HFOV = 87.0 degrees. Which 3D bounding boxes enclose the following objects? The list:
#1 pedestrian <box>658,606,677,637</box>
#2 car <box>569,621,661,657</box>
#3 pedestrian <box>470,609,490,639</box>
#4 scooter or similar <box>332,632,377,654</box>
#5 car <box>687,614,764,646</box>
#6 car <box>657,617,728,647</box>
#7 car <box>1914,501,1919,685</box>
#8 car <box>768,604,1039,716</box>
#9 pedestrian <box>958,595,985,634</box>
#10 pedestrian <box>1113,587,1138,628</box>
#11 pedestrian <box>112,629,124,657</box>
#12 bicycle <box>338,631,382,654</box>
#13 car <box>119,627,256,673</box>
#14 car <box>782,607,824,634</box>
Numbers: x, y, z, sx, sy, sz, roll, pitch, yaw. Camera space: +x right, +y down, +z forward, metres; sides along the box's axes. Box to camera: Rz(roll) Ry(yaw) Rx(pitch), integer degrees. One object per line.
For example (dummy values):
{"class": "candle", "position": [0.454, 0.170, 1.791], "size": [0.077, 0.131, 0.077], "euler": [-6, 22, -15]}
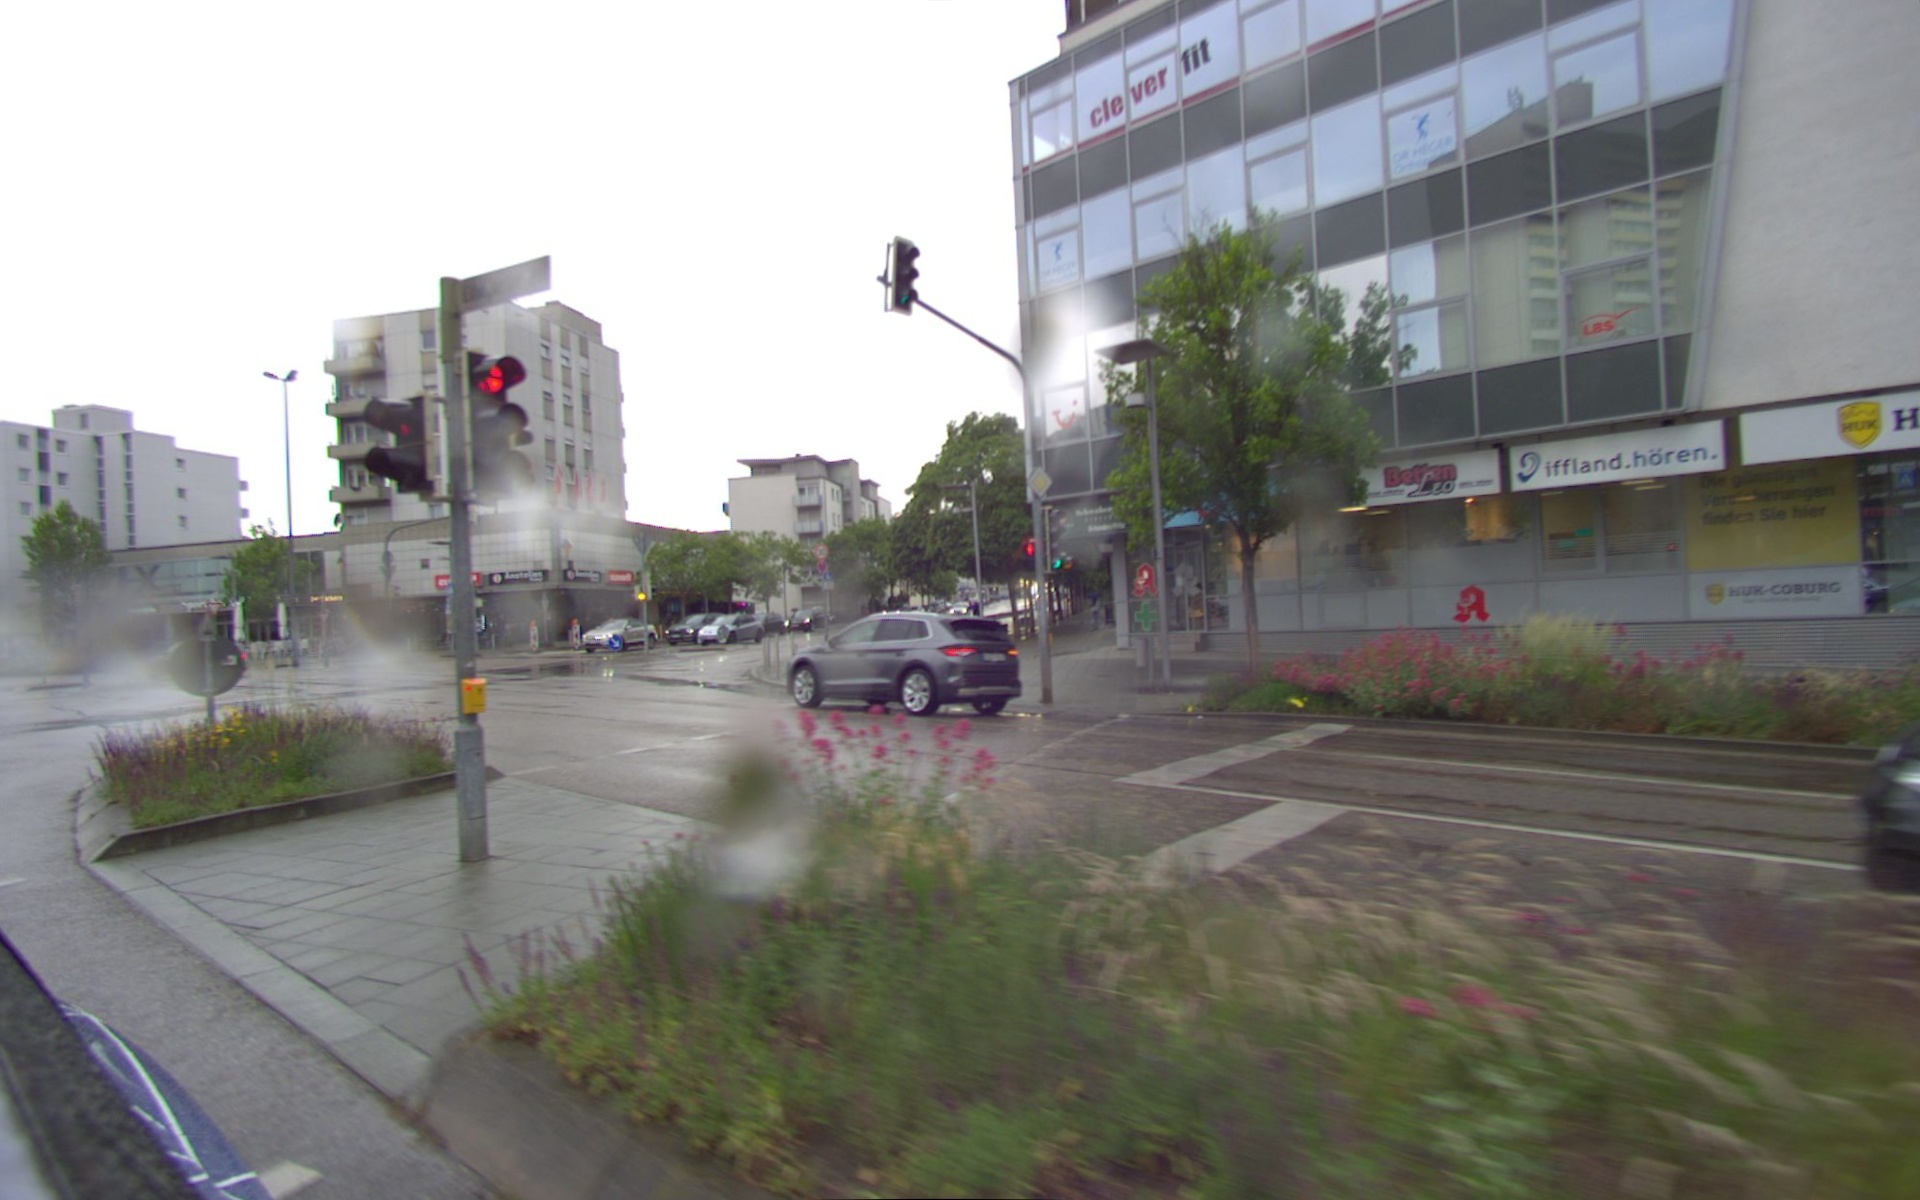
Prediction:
{"class": "pedestrian", "position": [-18.516, 1.330, 64.034], "size": [0.805, 1.908, 0.712], "euler": [-3, -1, 30]}
{"class": "car", "position": [-16.626, 1.857, 48.894], "size": [1.859, 1.607, 4.170], "euler": [-2, -2, 25]}
{"class": "pedestrian", "position": [-29.126, 1.459, 61.450], "size": [0.657, 1.705, 0.706], "euler": [-11, -3, 42]}
{"class": "scooter or similar", "position": [-36.182, 2.555, 60.473], "size": [0.637, 1.183, 2.582], "euler": [-3, 0, 14]}
{"class": "car", "position": [-11.989, 1.529, 52.008], "size": [1.762, 1.431, 4.026], "euler": [-3, -1, 24]}
{"class": "car", "position": [-14.574, 1.733, 55.263], "size": [1.854, 1.431, 4.035], "euler": [-3, -1, 18]}
{"class": "car", "position": [5.893, 0.387, 2.989], "size": [4.295, 1.837, 1.973], "euler": [-2, -1, 40]}
{"class": "car", "position": [-1.041, 0.966, 16.733], "size": [4.523, 1.606, 1.855], "euler": [-2, -4, 42]}
{"class": "pedestrian", "position": [0.637, 0.778, 54.660], "size": [1.153, 2.029, 1.324], "euler": [-3, 0, 10]}
{"class": "pedestrian", "position": [7.677, 0.348, 47.037], "size": [0.819, 1.882, 0.756], "euler": [-2, -1, -16]}
{"class": "pedestrian", "position": [-58.729, 2.995, 70.597], "size": [0.498, 1.862, 0.424], "euler": [-3, 0, 22]}
{"class": "bicycle", "position": [-37.198, 2.610, 62.747], "size": [0.690, 1.232, 2.541], "euler": [-3, 0, 15]}
{"class": "car", "position": [-29.410, 1.893, 38.542], "size": [4.867, 1.644, 1.913], "euler": [-1, -2, 21]}
{"class": "car", "position": [-10.663, 1.382, 68.963], "size": [1.697, 1.607, 3.990], "euler": [-3, 0, 8]}
